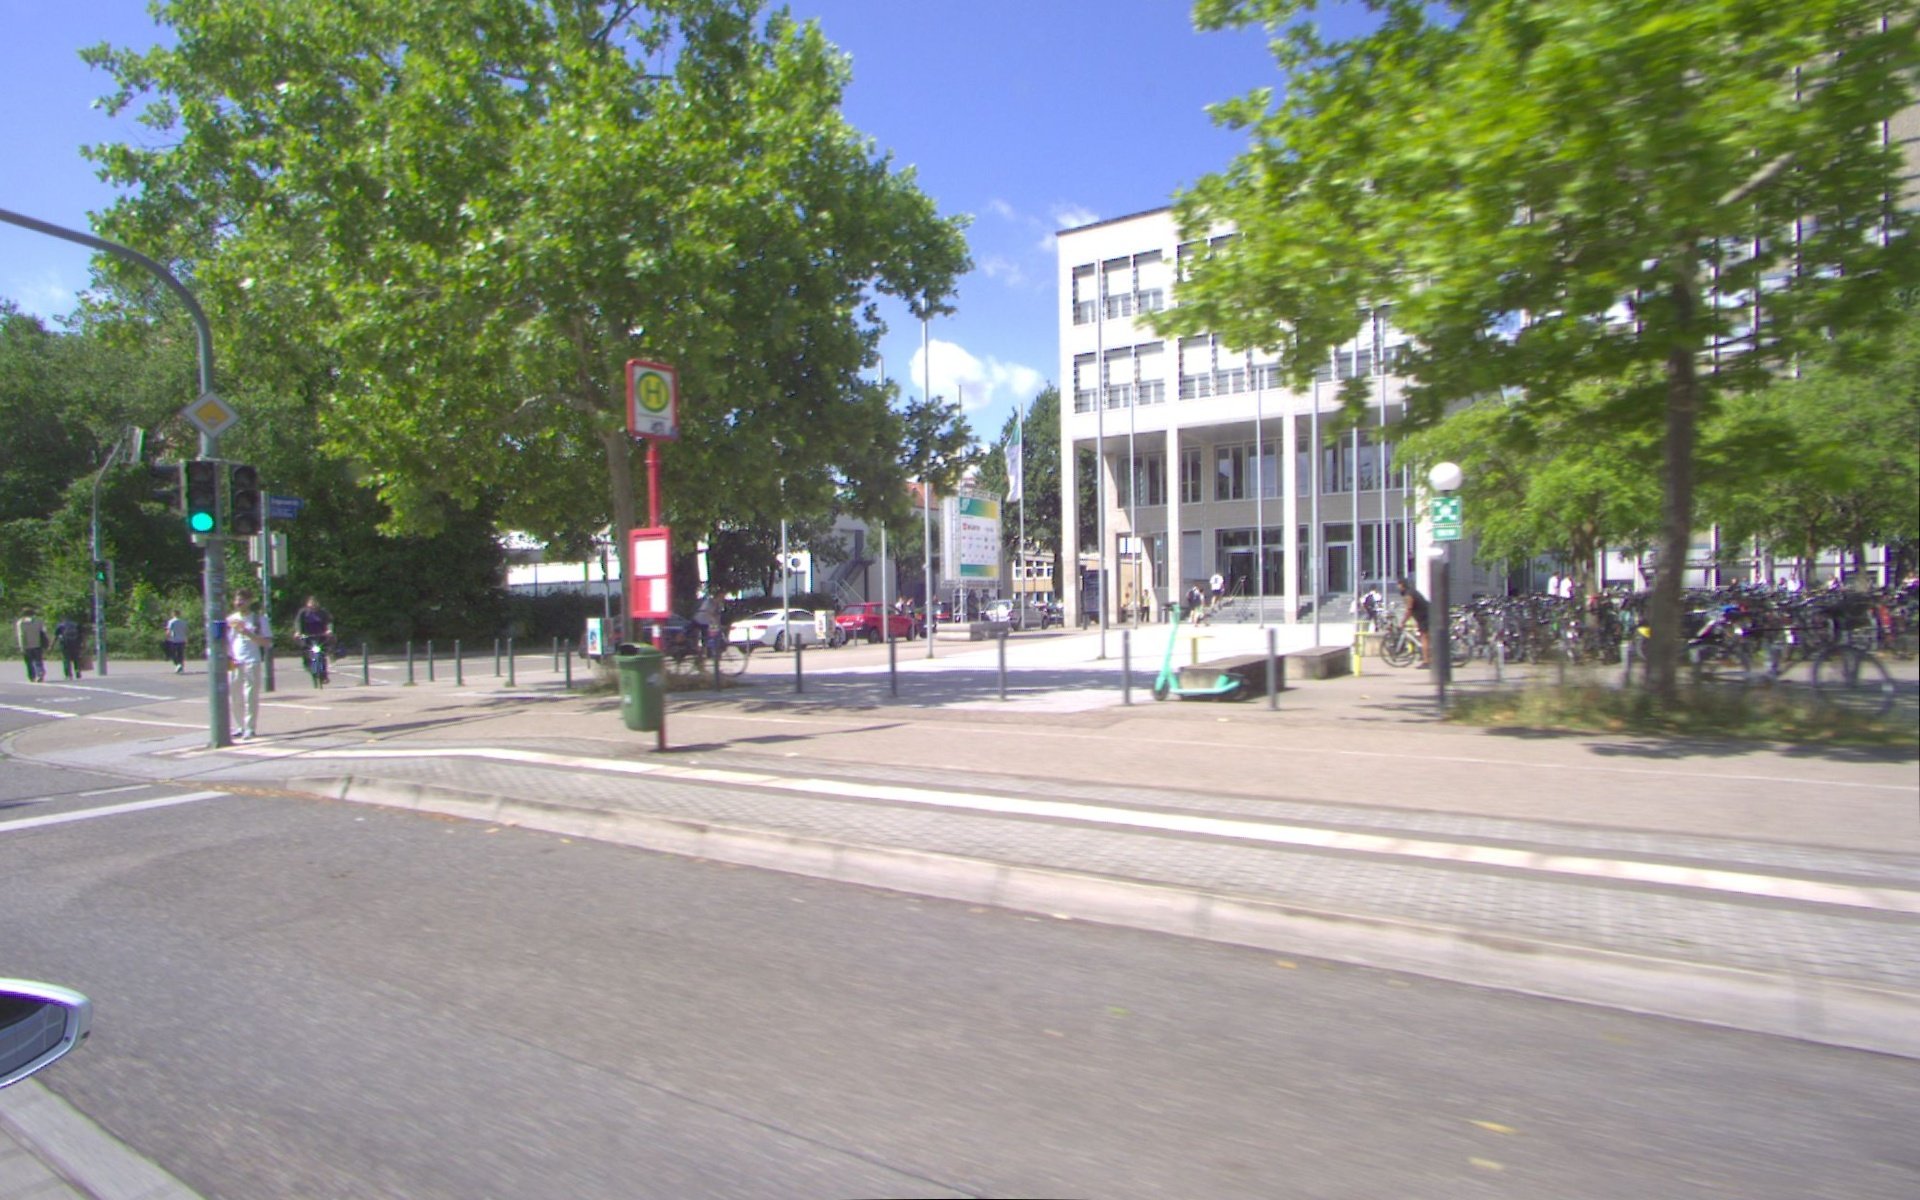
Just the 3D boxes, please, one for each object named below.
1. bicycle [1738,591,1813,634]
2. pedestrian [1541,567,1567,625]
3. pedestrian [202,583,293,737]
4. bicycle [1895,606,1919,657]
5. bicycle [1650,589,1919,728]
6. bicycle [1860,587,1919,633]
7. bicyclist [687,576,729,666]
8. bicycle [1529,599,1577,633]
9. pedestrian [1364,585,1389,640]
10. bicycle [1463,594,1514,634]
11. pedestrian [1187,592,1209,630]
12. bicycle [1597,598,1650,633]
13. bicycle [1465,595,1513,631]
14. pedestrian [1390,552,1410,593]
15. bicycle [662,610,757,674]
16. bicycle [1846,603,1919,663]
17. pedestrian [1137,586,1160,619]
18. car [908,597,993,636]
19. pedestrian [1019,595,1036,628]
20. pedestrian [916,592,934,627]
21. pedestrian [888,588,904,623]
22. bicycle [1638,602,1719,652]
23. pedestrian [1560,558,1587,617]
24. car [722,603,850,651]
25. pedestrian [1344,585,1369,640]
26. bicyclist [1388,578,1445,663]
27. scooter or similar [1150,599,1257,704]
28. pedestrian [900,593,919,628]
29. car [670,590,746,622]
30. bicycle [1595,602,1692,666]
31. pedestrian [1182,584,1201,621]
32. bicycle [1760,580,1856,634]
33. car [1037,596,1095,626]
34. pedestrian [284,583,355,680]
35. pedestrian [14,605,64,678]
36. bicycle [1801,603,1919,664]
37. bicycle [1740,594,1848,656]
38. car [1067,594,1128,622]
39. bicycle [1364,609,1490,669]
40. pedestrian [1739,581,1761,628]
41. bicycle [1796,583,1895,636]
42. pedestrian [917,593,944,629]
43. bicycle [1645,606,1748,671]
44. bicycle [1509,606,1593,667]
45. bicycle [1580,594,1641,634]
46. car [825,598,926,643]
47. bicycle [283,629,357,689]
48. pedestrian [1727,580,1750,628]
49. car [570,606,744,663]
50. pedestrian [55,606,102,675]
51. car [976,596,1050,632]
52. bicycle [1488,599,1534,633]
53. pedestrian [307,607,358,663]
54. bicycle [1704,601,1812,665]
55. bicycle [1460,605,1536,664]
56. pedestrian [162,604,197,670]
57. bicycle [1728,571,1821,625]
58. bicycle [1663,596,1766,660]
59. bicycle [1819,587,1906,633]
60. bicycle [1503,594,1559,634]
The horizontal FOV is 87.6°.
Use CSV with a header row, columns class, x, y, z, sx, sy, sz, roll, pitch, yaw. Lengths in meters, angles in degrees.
class,x,y,z,sx,sy,sz,roll,pitch,yaw
bicycle,21.986,0.344,27.041,0.592,1.113,1.768,0,-1,1
pedestrian,23.619,-0.145,39.829,0.622,2.258,0.717,0,-1,1
pedestrian,-8.794,0.721,12.386,0.599,1.825,0.595,-2,3,-5
bicycle,16.891,0.546,16.969,0.475,0.880,1.767,0,0,1
bicycle,7.866,0.531,9.558,2.009,1.198,0.793,-1,-1,43
bicycle,23.570,0.259,25.002,0.592,1.113,1.768,0,-1,1
bicyclist,-5.308,0.439,21.092,0.747,1.869,0.662,0,-1,-3
bicycle,20.124,0.559,34.023,0.592,1.113,1.768,0,-1,1
pedestrian,13.733,0.414,33.007,0.626,1.769,0.712,-1,-1,35
bicycle,15.461,0.428,29.335,0.592,1.113,1.768,0,-1,1
pedestrian,10.191,0.495,42.885,0.710,1.605,0.712,-1,-1,34
bicycle,21.687,0.516,32.767,0.592,1.113,1.768,0,-1,1
bicycle,16.653,0.424,31.560,0.592,1.113,1.768,0,-1,1
pedestrian,20.295,-1.266,46.168,0.710,1.821,0.712,-1,-1,34
bicycle,-5.246,0.886,21.061,1.838,1.313,0.663,0,-1,-3
bicycle,16.099,0.544,16.986,0.592,0.967,1.767,0,0,1
pedestrian,10.280,0.145,54.689,0.907,1.763,0.996,-1,1,31
car,-0.351,0.682,42.270,1.700,1.549,3.979,-1,0,31
pedestrian,3.403,0.576,50.351,0.678,1.661,0.738,-1,1,-7
pedestrian,-1.962,0.535,56.729,0.714,1.951,0.748,0,1,28
pedestrian,-3.625,0.314,56.530,0.586,1.951,0.780,-2,1,-36
bicycle,16.423,0.619,22.942,0.592,1.113,1.768,0,-1,1
pedestrian,23.762,-0.466,38.796,0.622,2.258,0.854,0,-1,11
car,-5.743,0.868,33.596,1.700,1.418,4.415,-4,-1,31
pedestrian,13.107,0.419,33.106,0.626,1.769,0.712,-1,-1,35
bicyclist,8.778,0.390,19.268,0.919,1.585,0.659,-1,1,31
scooter or similar,2.856,0.598,11.781,1.176,1.180,0.352,-1,-1,32
pedestrian,-2.847,0.600,56.747,0.725,1.951,0.779,-2,1,-36
car,-16.061,0.401,63.763,4.868,2.012,1.989,-1,-1,34
bicycle,12.476,0.626,18.342,0.592,1.113,1.768,0,-1,1
pedestrian,10.639,0.123,45.955,0.625,1.687,0.712,-1,-1,34
bicycle,18.459,0.173,21.842,0.592,1.113,1.768,0,-1,1
car,5.646,0.540,52.975,1.595,1.516,3.987,-1,0,30
pedestrian,-12.977,0.625,20.317,0.842,1.844,1.173,-5,2,-20
pedestrian,-22.419,0.978,24.374,1.169,1.727,0.791,1,1,43
bicycle,15.309,0.547,17.002,0.592,0.967,1.767,0,0,1
bicycle,15.725,0.447,18.943,0.592,1.113,1.767,0,0,1
car,7.833,0.429,56.783,1.845,1.484,4.497,-1,0,31
bicycle,8.970,0.751,19.233,2.122,1.092,0.900,-2,-2,29
pedestrian,38.388,0.214,48.644,0.627,2.258,0.710,0,-1,-40
bicycle,19.319,0.219,21.893,0.592,1.113,1.768,0,-1,1
pedestrian,-1.637,0.605,55.202,1.083,1.945,1.015,0,1,32
bicycle,13.280,0.674,18.117,0.592,1.113,1.767,0,0,1
bicycle,11.356,0.702,19.311,0.592,1.113,1.768,0,-1,1
bicycle,18.435,0.416,28.435,0.592,1.113,1.768,0,-1,1
car,-3.131,0.738,37.862,1.597,1.516,4.124,-3,-1,32
bicycle,-13.000,1.173,20.393,0.804,1.086,1.887,-4,0,-20
pedestrian,36.968,0.187,47.539,0.627,2.258,0.710,0,-1,-40
car,-8.625,0.946,28.995,1.699,1.418,4.923,-3,-1,31
pedestrian,-22.686,1.029,25.777,1.169,1.727,0.791,1,1,43
car,2.567,0.628,47.316,1.698,1.549,4.547,-3,-1,28
bicycle,18.696,0.564,33.983,0.592,1.113,1.768,0,-1,1
pedestrian,-19.318,1.050,30.828,1.002,1.649,0.855,1,3,20
bicycle,14.651,0.579,18.453,0.592,1.113,1.767,0,1,1
bicycle,10.705,0.682,19.995,0.592,1.113,1.768,0,-1,1
pedestrian,-22.214,1.049,28.494,0.695,1.845,0.667,1,1,43
bicycle,17.754,-0.016,21.872,0.592,1.113,1.768,0,-1,1
bicycle,13.925,0.495,18.542,0.592,1.113,1.767,-1,0,1
bicycle,22.725,0.270,25.259,0.592,1.113,1.768,0,-1,1
bicycle,16.379,0.417,28.771,0.592,1.113,1.768,0,-1,1
